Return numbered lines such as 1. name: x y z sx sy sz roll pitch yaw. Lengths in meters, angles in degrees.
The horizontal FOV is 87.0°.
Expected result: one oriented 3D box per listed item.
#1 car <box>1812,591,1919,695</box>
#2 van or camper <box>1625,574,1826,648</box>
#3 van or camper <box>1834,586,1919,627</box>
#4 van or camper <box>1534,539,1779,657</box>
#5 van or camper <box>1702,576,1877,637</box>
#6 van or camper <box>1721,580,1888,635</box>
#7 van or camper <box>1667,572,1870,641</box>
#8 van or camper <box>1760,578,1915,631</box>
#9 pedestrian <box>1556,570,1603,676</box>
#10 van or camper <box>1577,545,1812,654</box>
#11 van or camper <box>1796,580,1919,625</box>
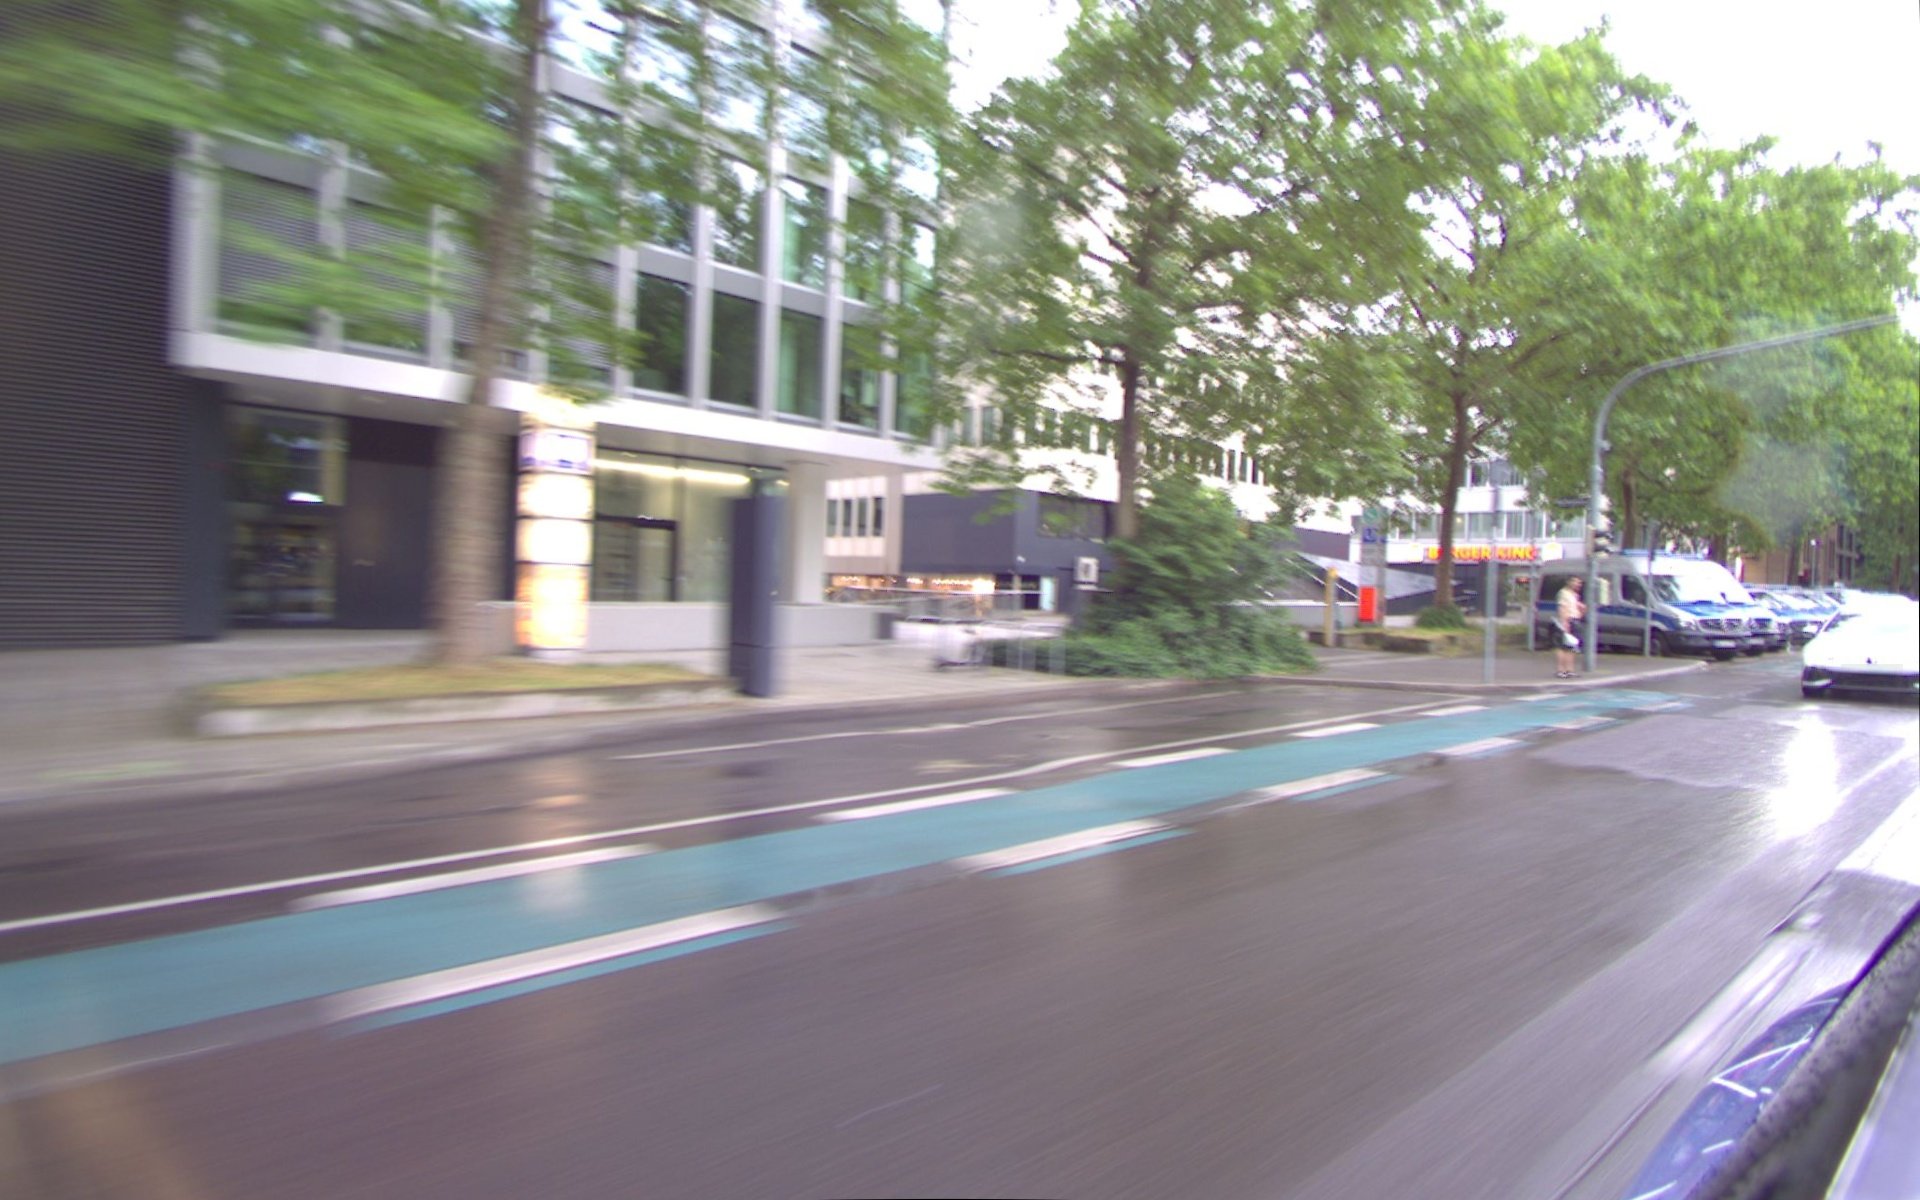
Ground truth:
1. car: 14.894 0.615 15.939 4.435 1.463 1.863 0 0 -44
2. van or camper: 22.811 0.239 30.482 1.960 2.039 5.022 0 1 -5
3. van or camper: 48.918 0.308 52.945 1.963 2.017 4.949 0 0 -2
4. van or camper: 17.812 -0.078 26.380 2.105 2.711 5.820 1 1 -3
5. van or camper: 30.391 0.188 37.361 2.065 2.050 5.111 1 1 -3
6. van or camper: 33.089 0.228 39.898 1.959 2.020 5.032 1 1 -8
7. van or camper: 25.648 0.165 32.436 1.960 2.017 5.215 0 0 -6
8. van or camper: 35.834 0.136 41.551 1.960 2.036 4.799 0 1 -4
9. pedestrian: 11.011 0.394 17.991 0.605 1.854 0.556 1 0 41
10. van or camper: 20.316 -0.070 28.439 1.960 2.714 5.818 1 1 -5
11. van or camper: 43.438 0.104 48.714 1.957 2.045 5.092 0 0 -4
